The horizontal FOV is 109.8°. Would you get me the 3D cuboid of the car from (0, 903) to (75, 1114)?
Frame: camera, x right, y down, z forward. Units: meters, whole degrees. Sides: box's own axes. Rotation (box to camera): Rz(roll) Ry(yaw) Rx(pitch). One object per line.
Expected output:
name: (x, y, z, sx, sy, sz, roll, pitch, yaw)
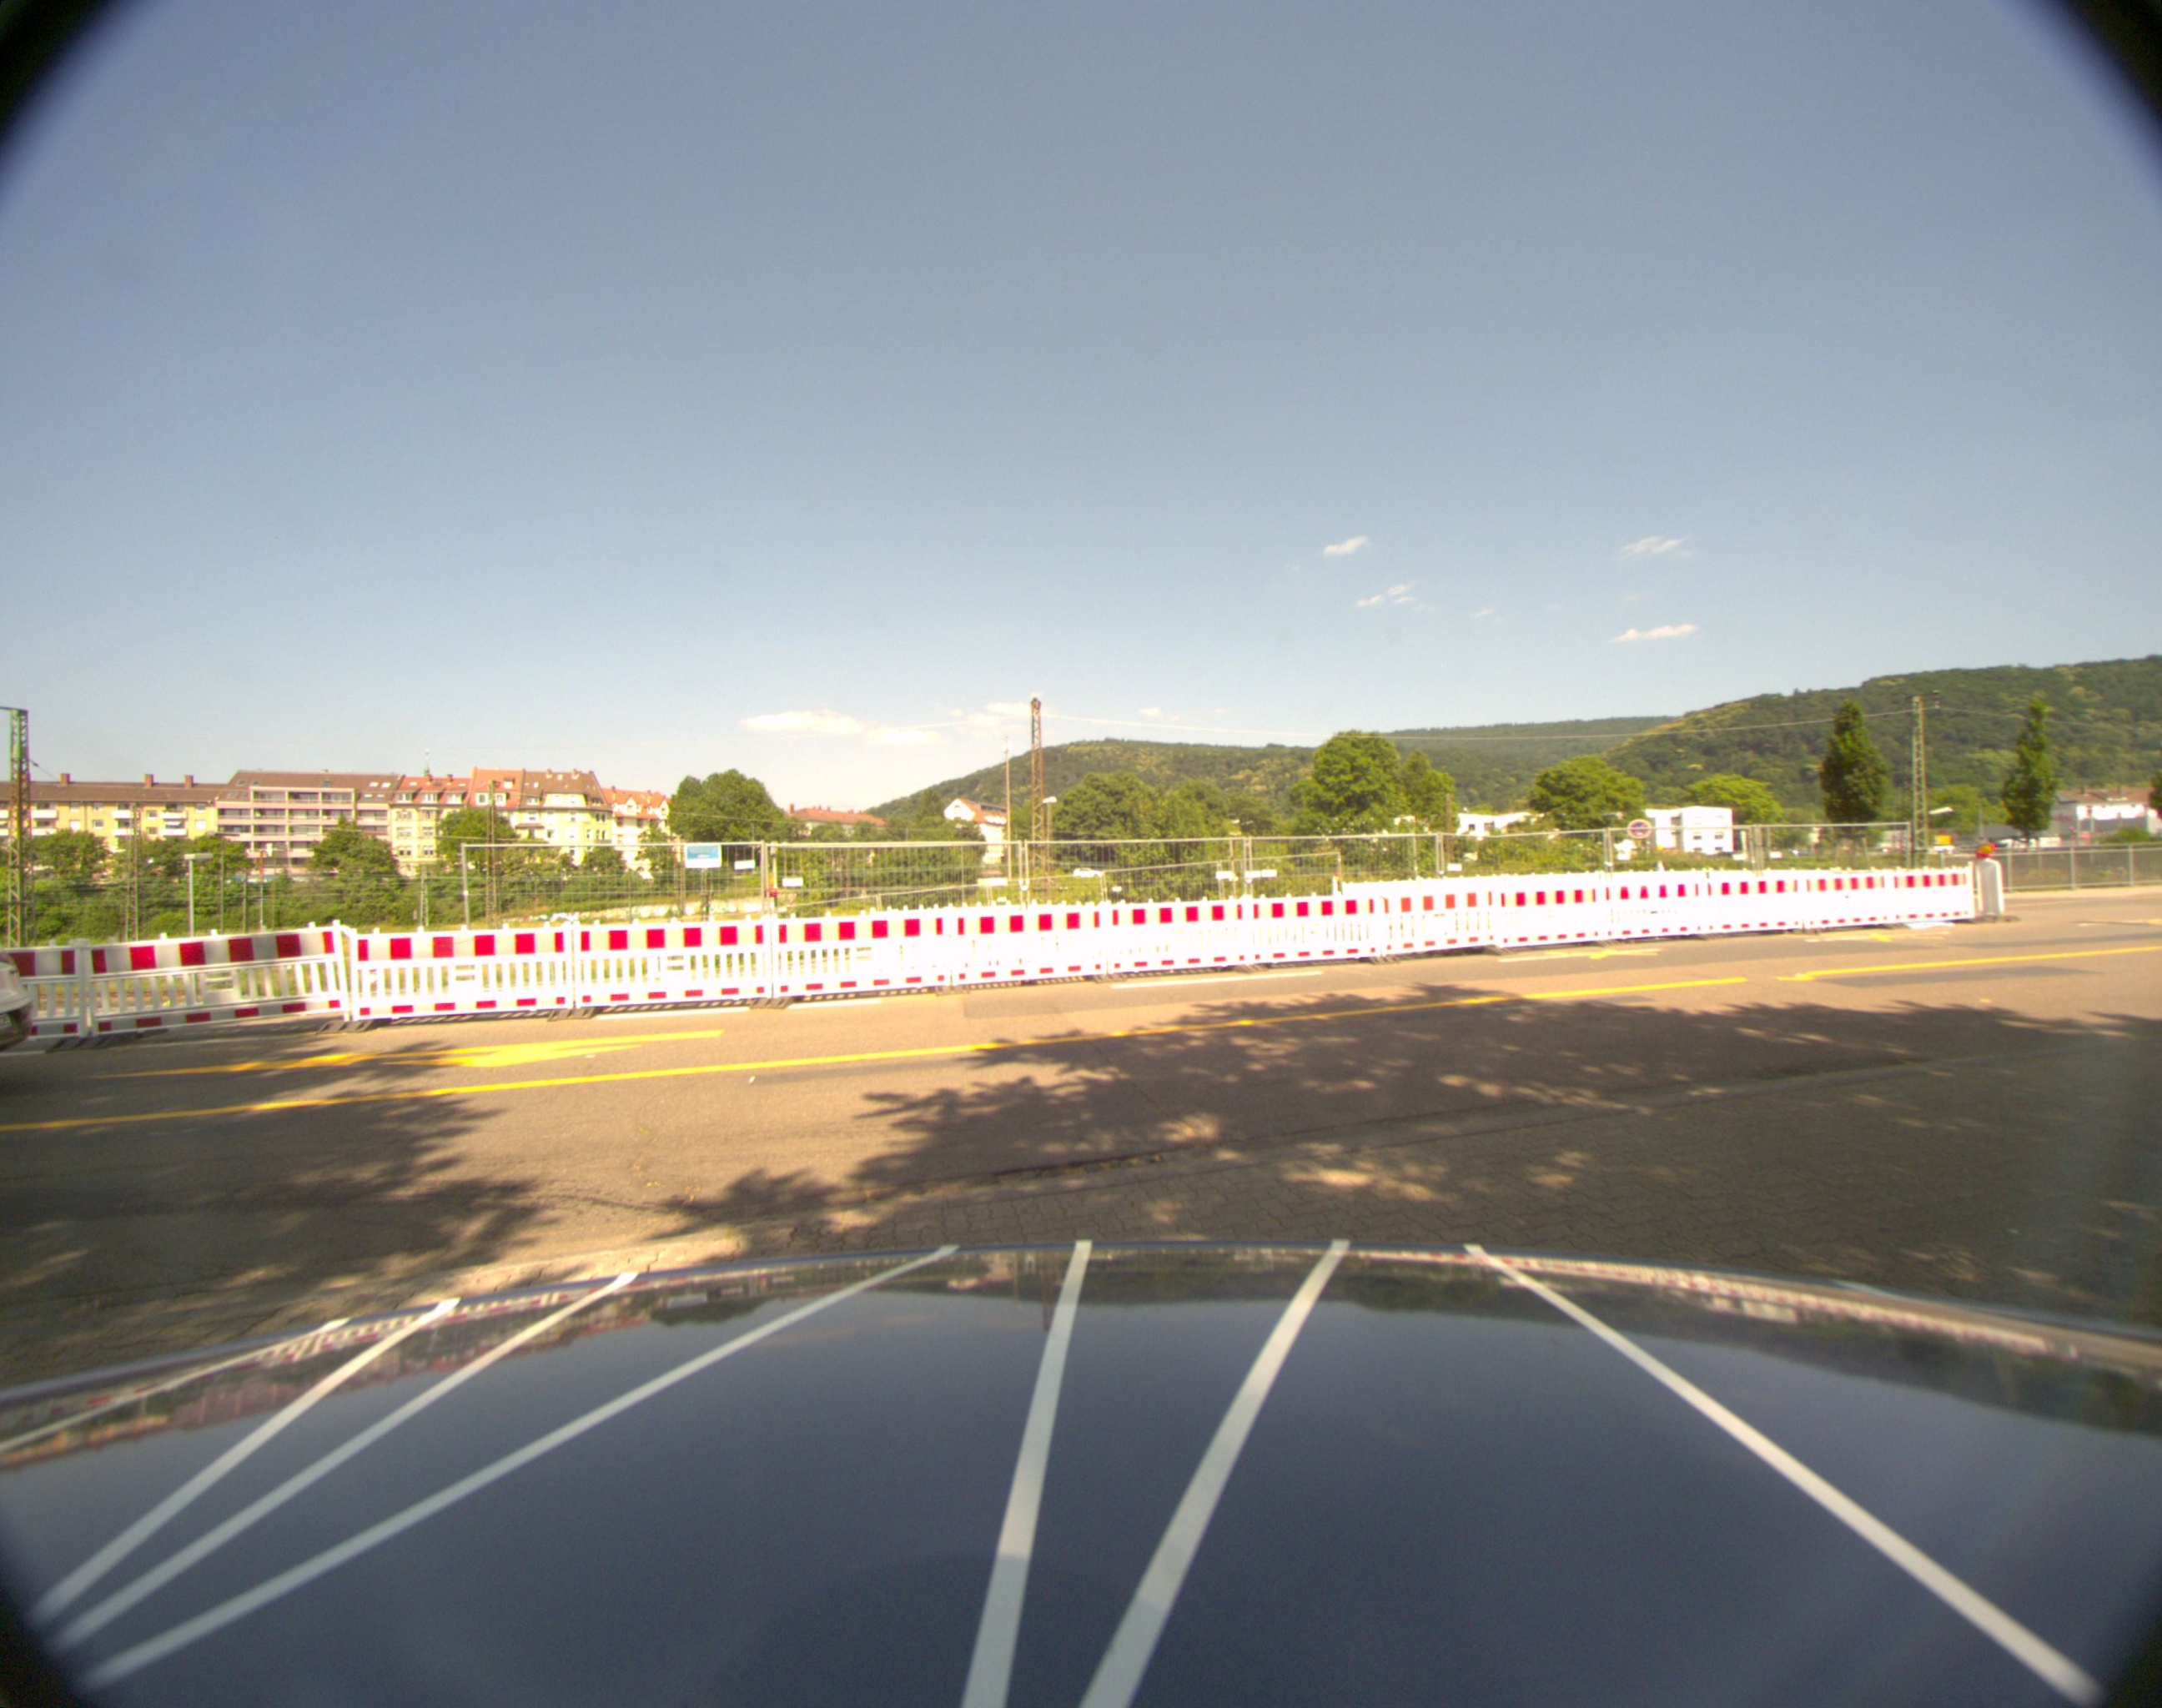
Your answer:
car: (-10.668, 1.294, 4.634, 5.039, 1.635, 1.995, -2, 0, -31)
